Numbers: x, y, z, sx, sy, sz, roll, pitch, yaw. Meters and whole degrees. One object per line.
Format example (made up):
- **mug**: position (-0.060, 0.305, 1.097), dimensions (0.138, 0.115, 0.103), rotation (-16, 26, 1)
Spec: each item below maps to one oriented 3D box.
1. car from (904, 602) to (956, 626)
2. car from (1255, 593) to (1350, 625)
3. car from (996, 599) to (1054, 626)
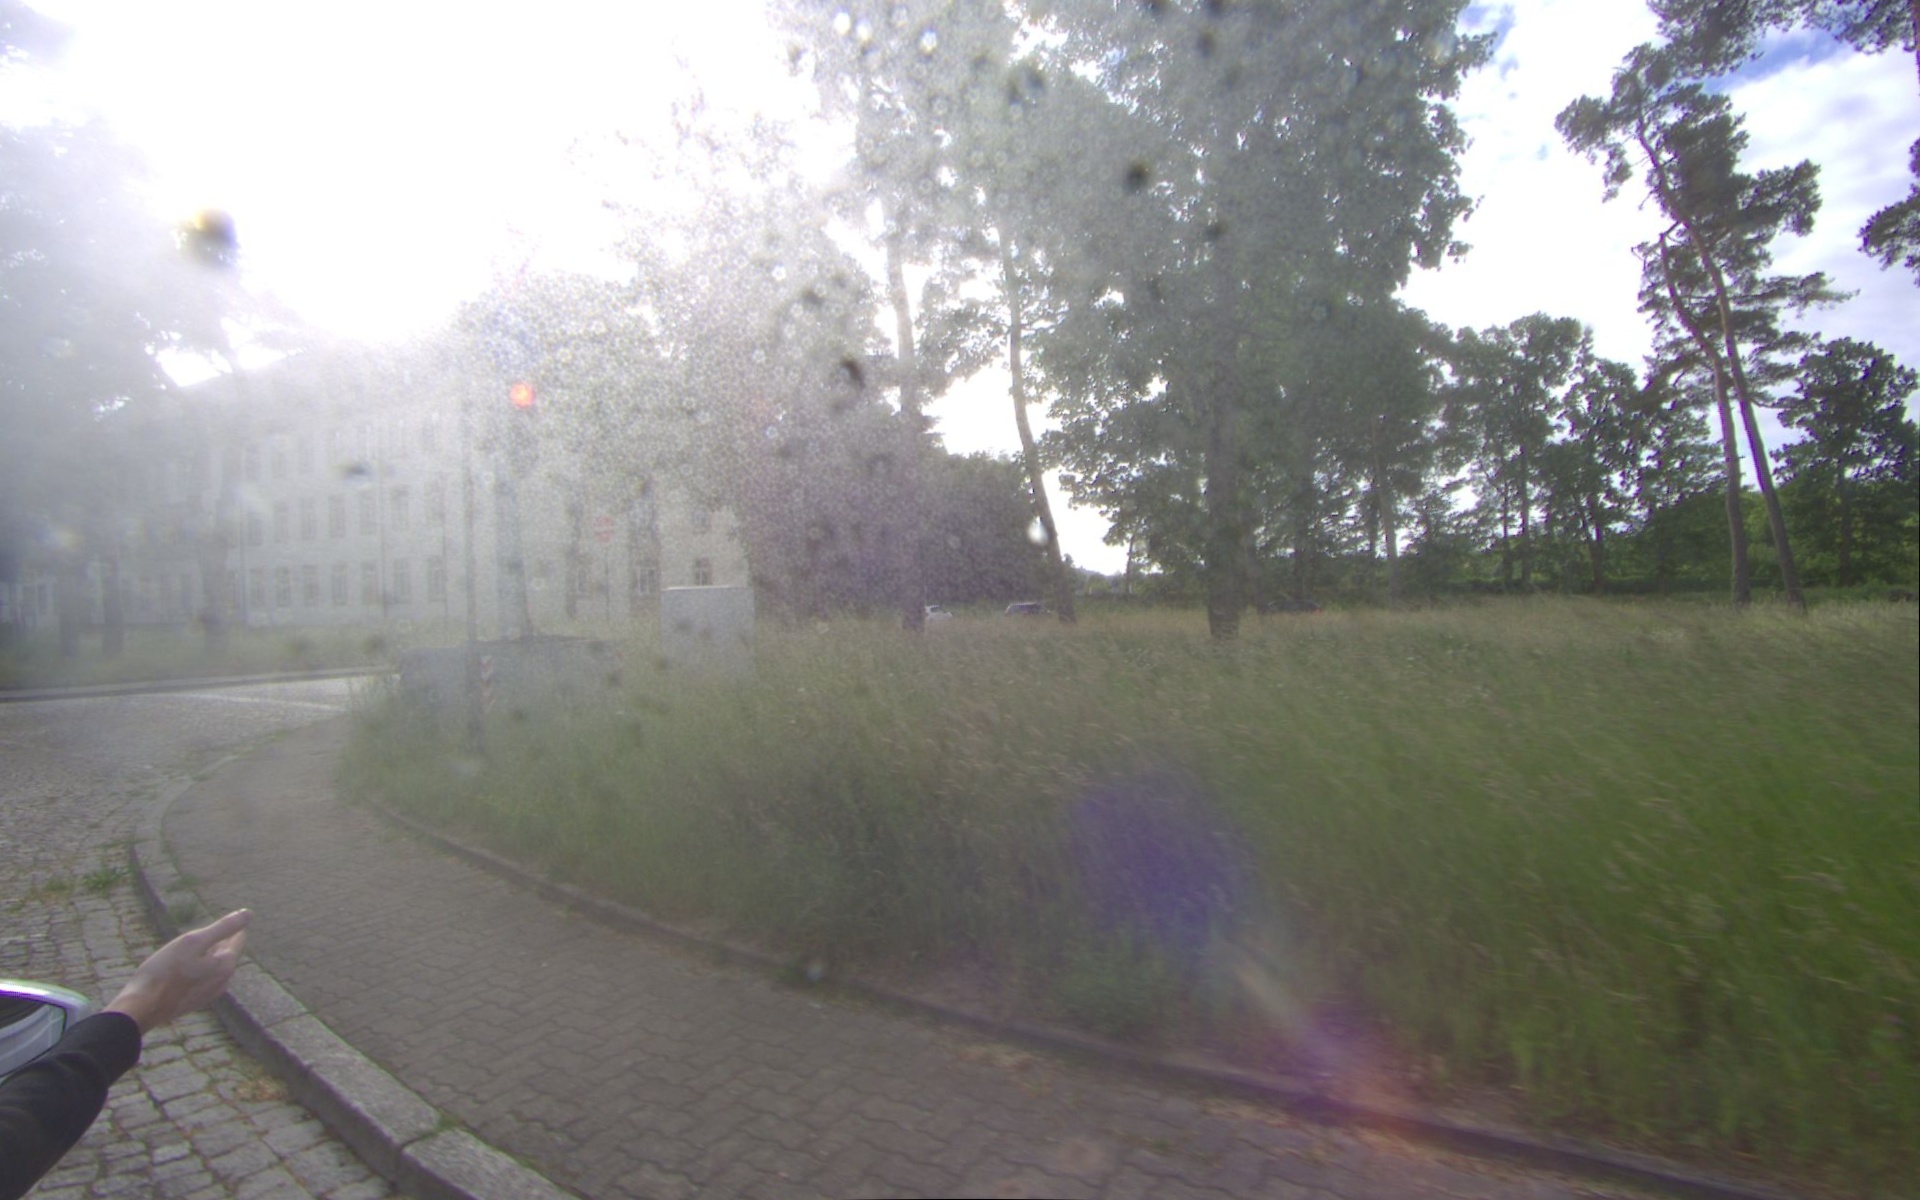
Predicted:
- **car**: position (-1.963, 0.911, 67.201), dimensions (1.748, 1.554, 3.674), rotation (-1, 0, 32)
- **car**: position (17.805, 0.474, 52.063), dimensions (4.384, 1.607, 1.990), rotation (-1, 0, 30)
- **car**: position (4.083, 0.761, 62.643), dimensions (1.971, 1.554, 3.978), rotation (-1, 0, 32)
